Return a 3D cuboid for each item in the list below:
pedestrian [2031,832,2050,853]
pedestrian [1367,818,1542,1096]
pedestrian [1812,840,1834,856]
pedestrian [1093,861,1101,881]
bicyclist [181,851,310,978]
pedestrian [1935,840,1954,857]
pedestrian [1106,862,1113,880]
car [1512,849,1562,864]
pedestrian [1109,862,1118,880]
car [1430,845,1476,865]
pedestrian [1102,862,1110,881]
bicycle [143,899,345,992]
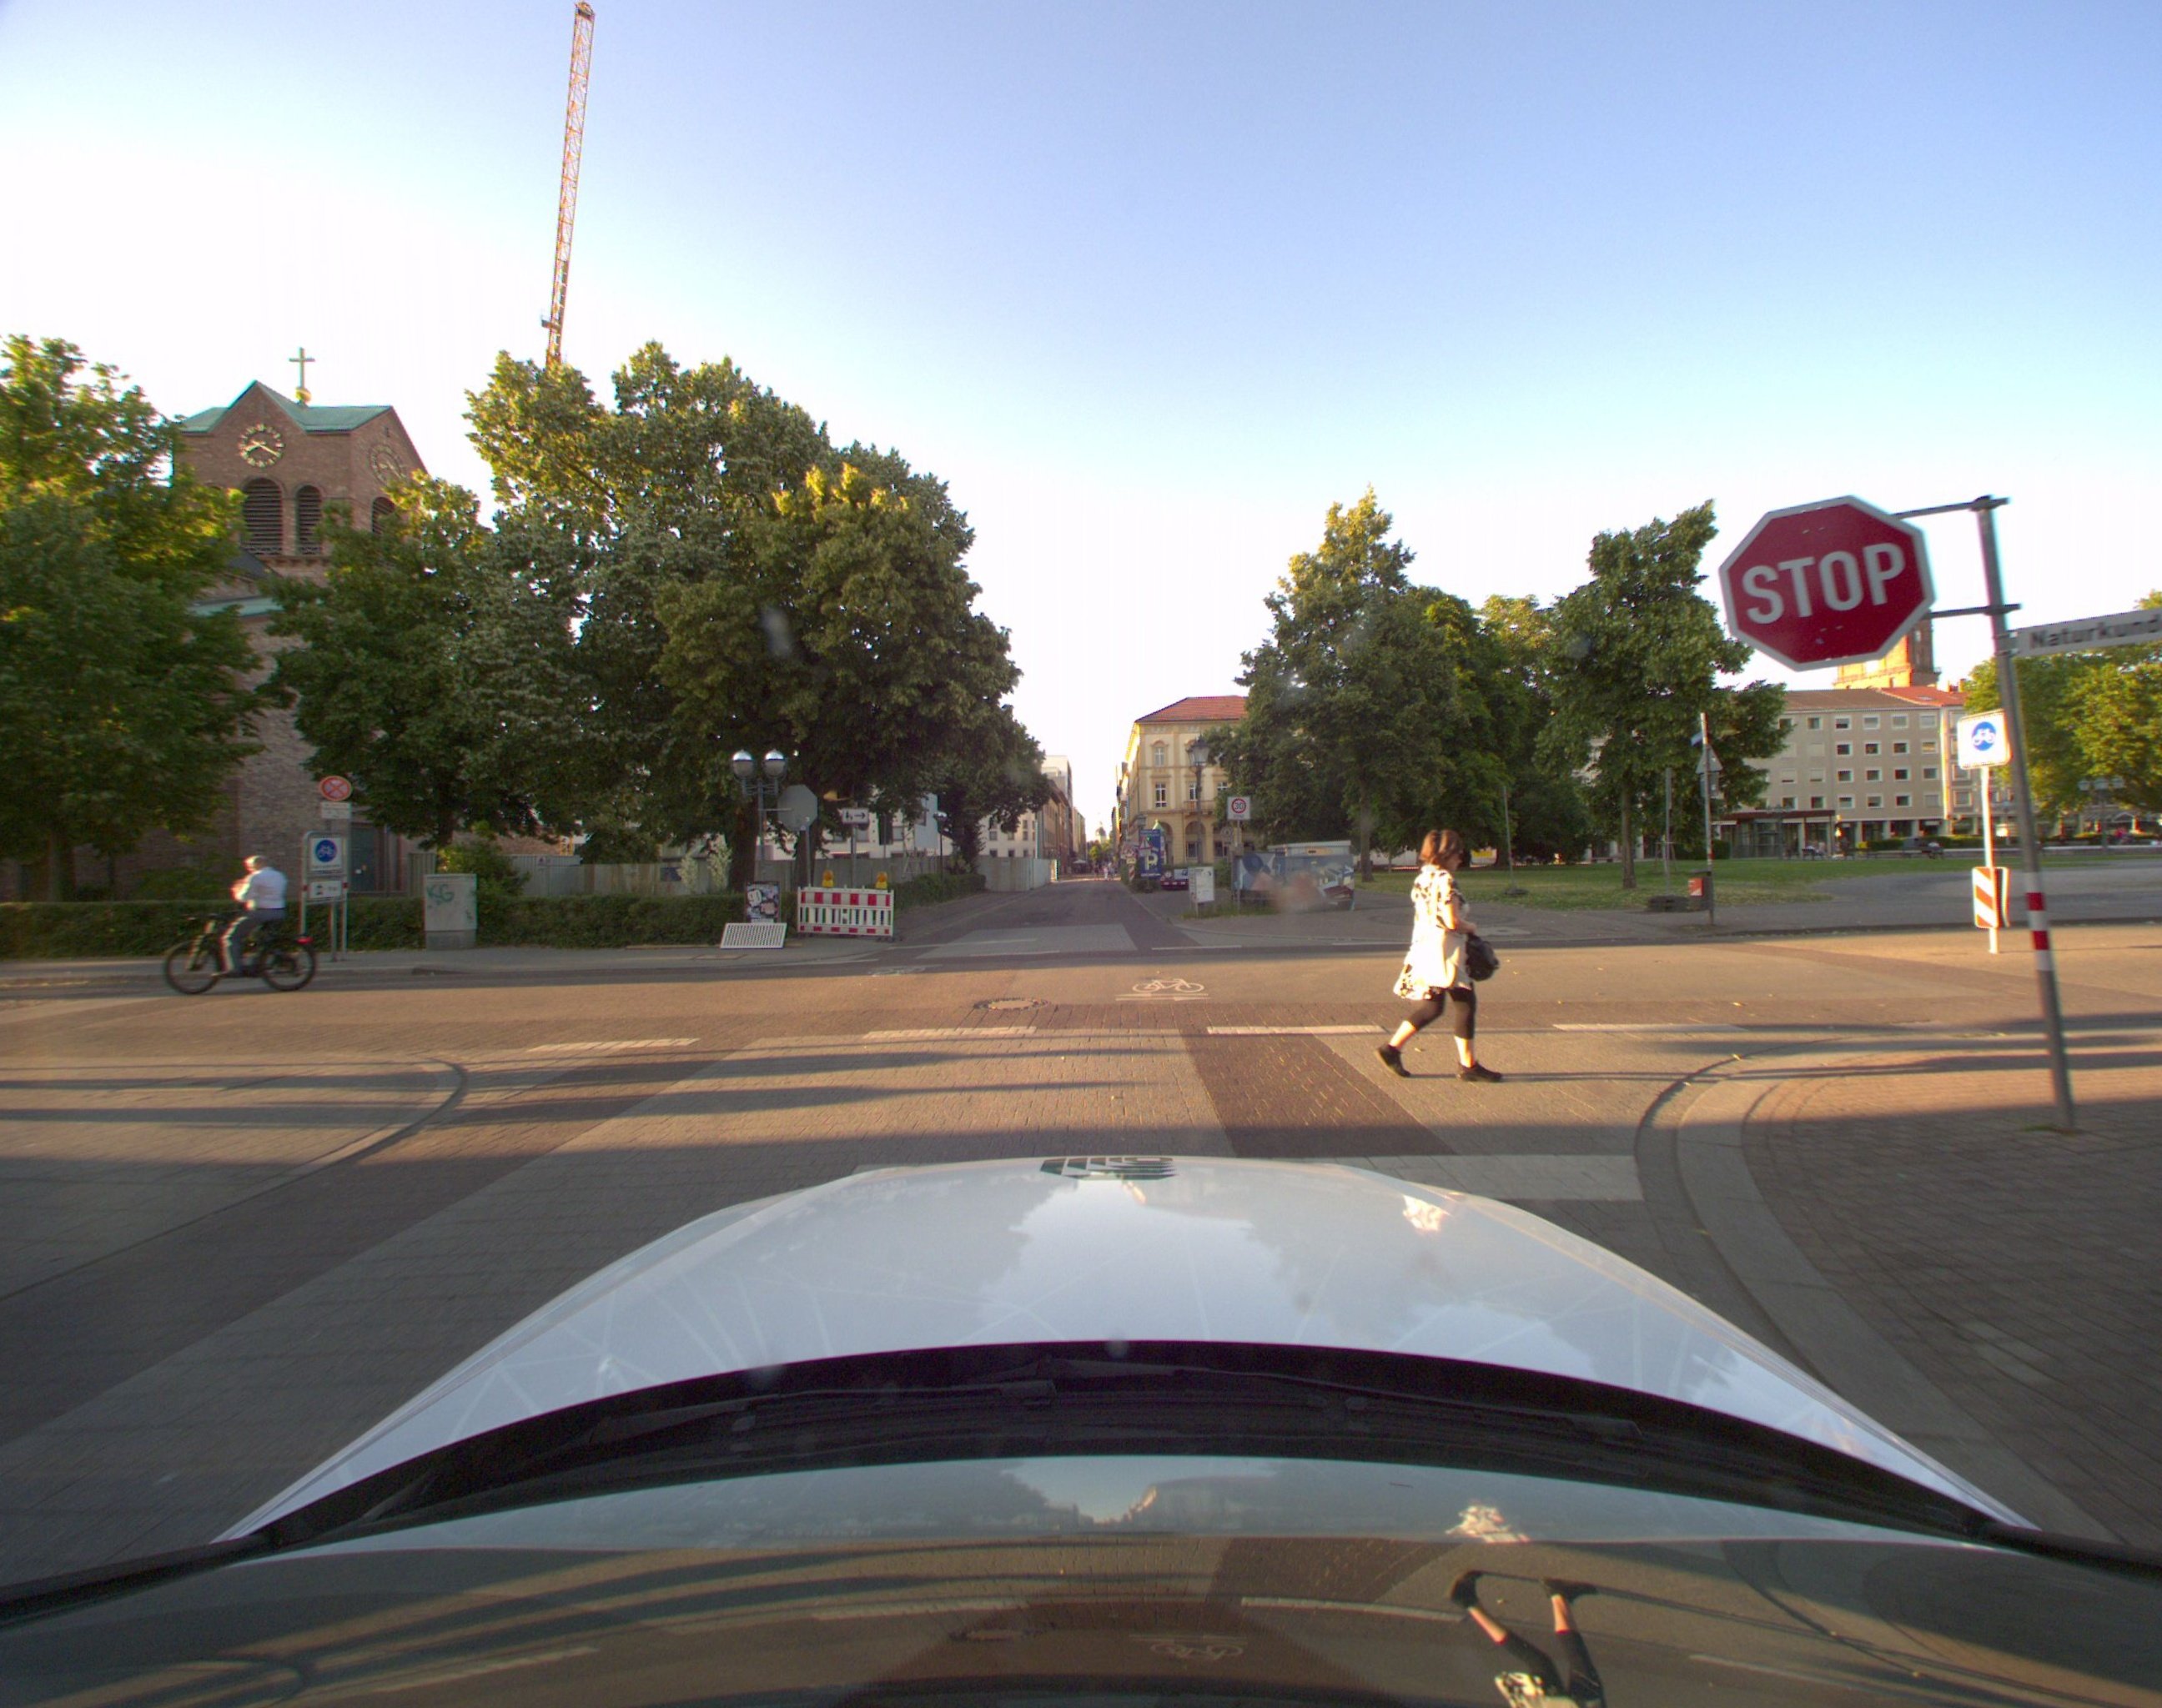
[{"bbox_3d":[52.315,-0.627,44.421,0.514,1.077,0.614,-1,-1,-38],"label":"pedestrian"},{"bbox_3d":[2.457,0.641,5.459,0.731,1.689,0.836,-2,-1,1],"label":"pedestrian"},{"bbox_3d":[50.361,-0.412,55.284,0.889,1.077,0.624,-3,-1,18],"label":"pedestrian"},{"bbox_3d":[1.416,1.523,74.057,0.655,1.760,0.745,-2,-1,2],"label":"pedestrian"},{"bbox_3d":[-11.335,0.802,11.077,1.060,1.633,0.594,-2,-1,-8],"label":"bicyclist"},{"bbox_3d":[50.627,-0.323,47.757,0.512,0.925,0.616,-2,-1,-24],"label":"pedestrian"},{"bbox_3d":[2.592,1.561,74.012,0.655,1.636,0.745,-2,-1,2],"label":"pedestrian"},{"bbox_3d":[42.705,0.258,76.330,3.568,1.240,1.996,-2,-1,-6],"label":"car"},{"bbox_3d":[2.900,1.498,72.724,0.655,1.617,0.745,-2,-1,2],"label":"pedestrian"},{"bbox_3d":[40.222,0.109,88.116,4.015,2.014,2.001,-2,-1,2],"label":"car"},{"bbox_3d":[2.204,1.542,72.682,0.655,1.617,0.745,-2,-1,2],"label":"pedestrian"},{"bbox_3d":[-11.304,1.215,11.055,1.926,1.121,0.594,-2,-1,-9],"label":"bicycle"}]
